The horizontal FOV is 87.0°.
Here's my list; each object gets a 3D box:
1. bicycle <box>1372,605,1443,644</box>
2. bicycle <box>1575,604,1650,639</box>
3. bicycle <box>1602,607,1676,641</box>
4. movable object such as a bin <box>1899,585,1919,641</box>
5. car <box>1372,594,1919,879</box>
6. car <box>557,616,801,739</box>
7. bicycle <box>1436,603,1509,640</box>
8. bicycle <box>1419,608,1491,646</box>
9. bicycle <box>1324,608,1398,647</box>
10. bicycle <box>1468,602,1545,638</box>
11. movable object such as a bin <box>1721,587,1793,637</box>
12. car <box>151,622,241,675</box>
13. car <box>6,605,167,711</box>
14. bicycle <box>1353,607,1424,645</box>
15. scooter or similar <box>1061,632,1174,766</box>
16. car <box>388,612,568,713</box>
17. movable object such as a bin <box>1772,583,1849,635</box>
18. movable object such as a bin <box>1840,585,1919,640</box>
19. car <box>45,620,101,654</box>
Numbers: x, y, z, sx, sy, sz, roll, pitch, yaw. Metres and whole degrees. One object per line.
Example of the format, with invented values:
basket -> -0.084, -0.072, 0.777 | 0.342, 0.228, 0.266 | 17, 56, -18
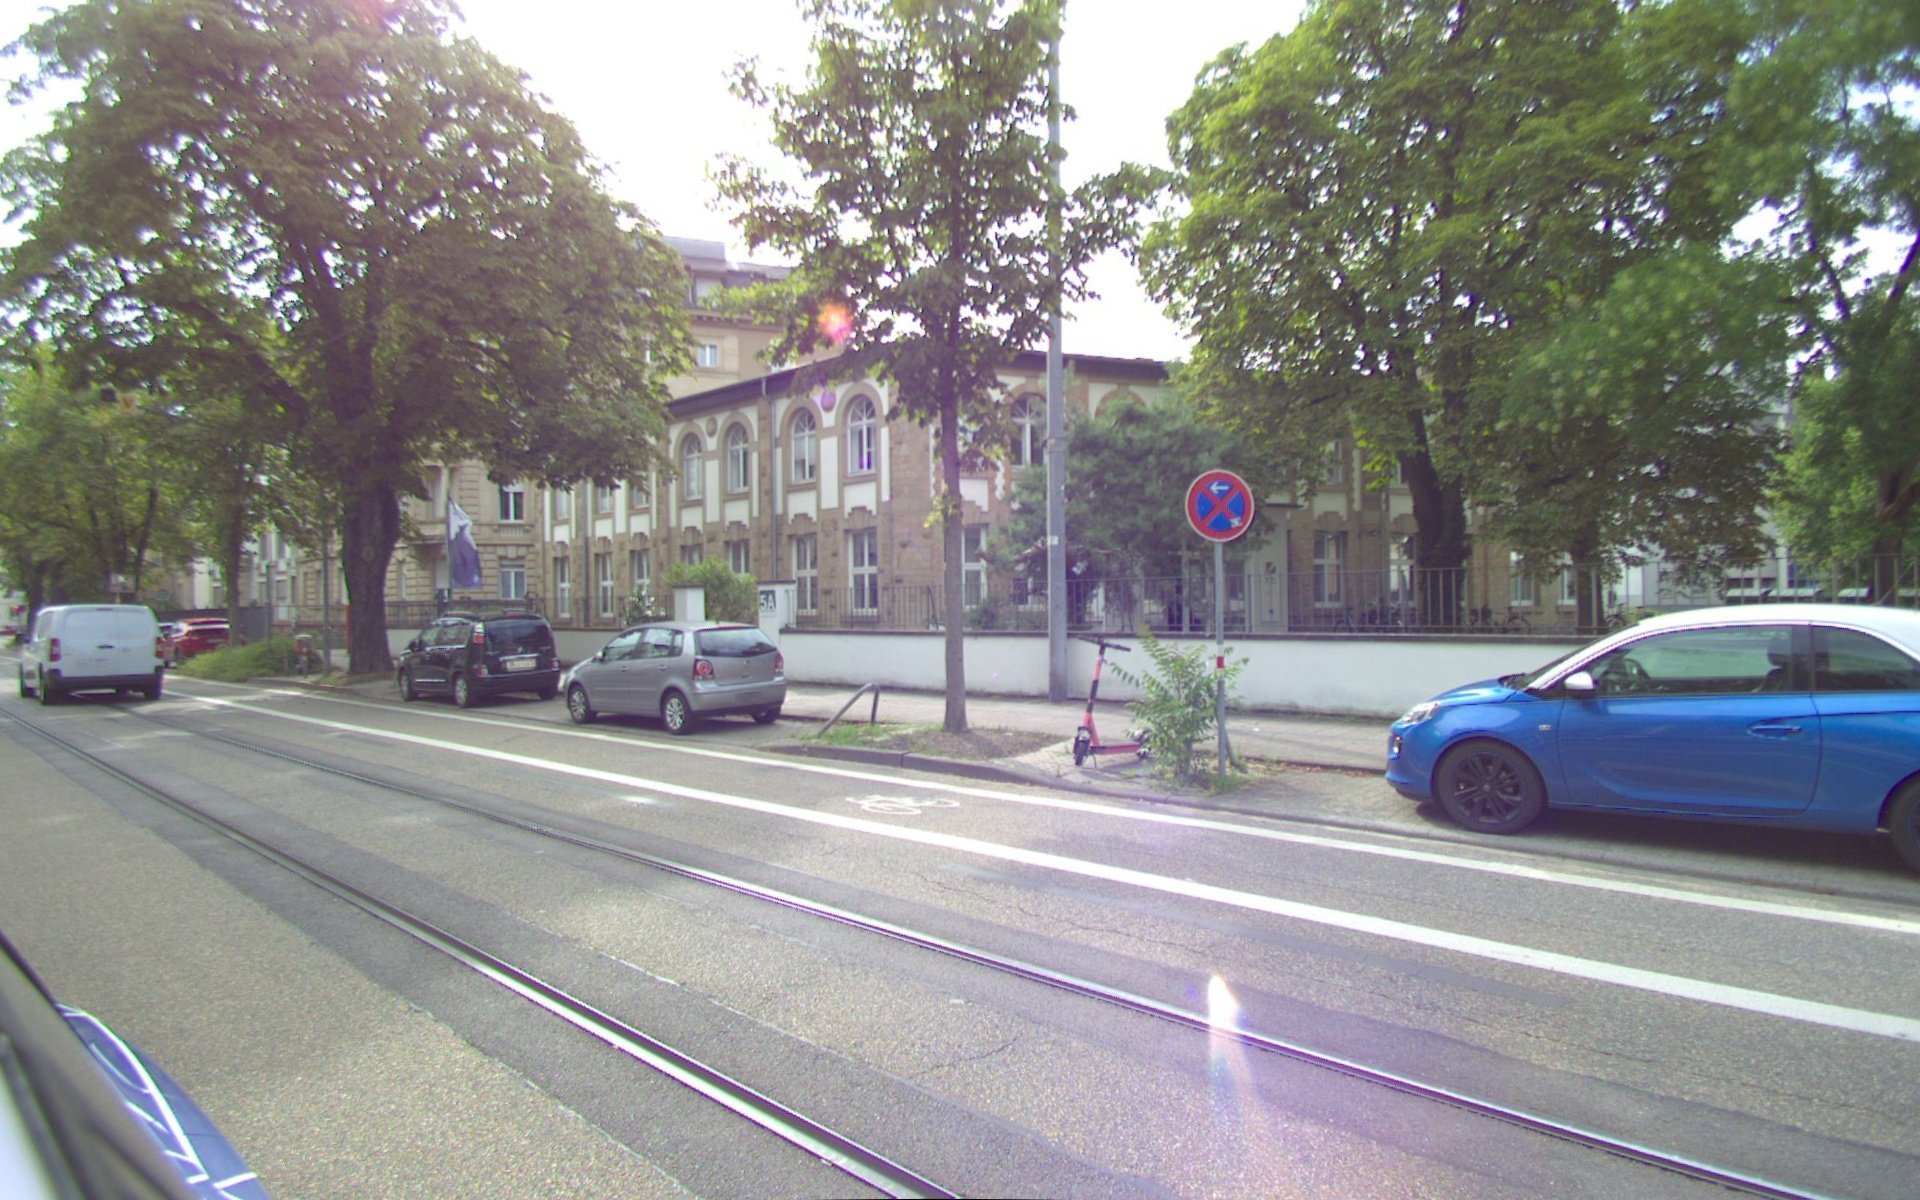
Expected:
bicycle -> 12.881, 0.687, 29.175 | 0.584, 1.051, 1.984 | -1, 0, -23
bicycle -> 20.623, 0.662, 32.048 | 0.584, 1.051, 1.984 | -1, 0, -23
bicycle -> 21.843, 0.771, 32.599 | 0.584, 1.051, 1.984 | -1, 0, -23
movable object such as a bin -> 25.390, 0.336, 26.152 | 1.103, 1.441, 1.288 | 0, 0, -21
car -> 4.783, 0.729, 6.535 | 3.600, 1.476, 1.611 | -2, -1, 41
car -> -4.014, 0.994, 14.203 | 3.572, 1.476, 1.611 | -2, -1, 41
bicycle -> 15.174, 0.623, 30.006 | 0.584, 1.051, 1.984 | -1, 0, -23
bicycle -> 14.481, 0.779, 29.667 | 0.584, 1.051, 1.984 | -1, 0, -23
bicycle -> 11.308, 0.760, 28.604 | 0.584, 1.051, 1.984 | -1, 0, -30
bicycle -> 16.694, 0.604, 30.971 | 1.978, 1.051, 0.586 | -1, 0, 44
movable object such as a bin -> 23.789, 0.355, 30.228 | 1.103, 1.441, 1.288 | 0, 0, -21
car -> -25.674, 1.583, 33.966 | 3.904, 1.646, 1.637 | -2, -1, 41
car -> -17.383, 1.079, 20.062 | 4.676, 1.837, 1.776 | -2, -1, 41
bicycle -> 12.186, 0.727, 28.841 | 0.584, 1.051, 1.984 | -1, 0, -23
scooter or similar -> 1.481, 0.905, 9.501 | 0.987, 1.176, 0.370 | -1, -1, -24
car -> -8.918, 1.078, 18.601 | 3.723, 1.646, 1.637 | -2, -1, 41
movable object such as a bin -> 24.301, 0.259, 28.932 | 1.103, 1.441, 1.288 | 0, 0, -21
movable object such as a bin -> 25.012, 0.340, 27.471 | 1.103, 1.441, 1.288 | 0, 0, -21
car -> -45.420, 1.896, 51.809 | 3.904, 1.646, 1.637 | -2, -1, 41
